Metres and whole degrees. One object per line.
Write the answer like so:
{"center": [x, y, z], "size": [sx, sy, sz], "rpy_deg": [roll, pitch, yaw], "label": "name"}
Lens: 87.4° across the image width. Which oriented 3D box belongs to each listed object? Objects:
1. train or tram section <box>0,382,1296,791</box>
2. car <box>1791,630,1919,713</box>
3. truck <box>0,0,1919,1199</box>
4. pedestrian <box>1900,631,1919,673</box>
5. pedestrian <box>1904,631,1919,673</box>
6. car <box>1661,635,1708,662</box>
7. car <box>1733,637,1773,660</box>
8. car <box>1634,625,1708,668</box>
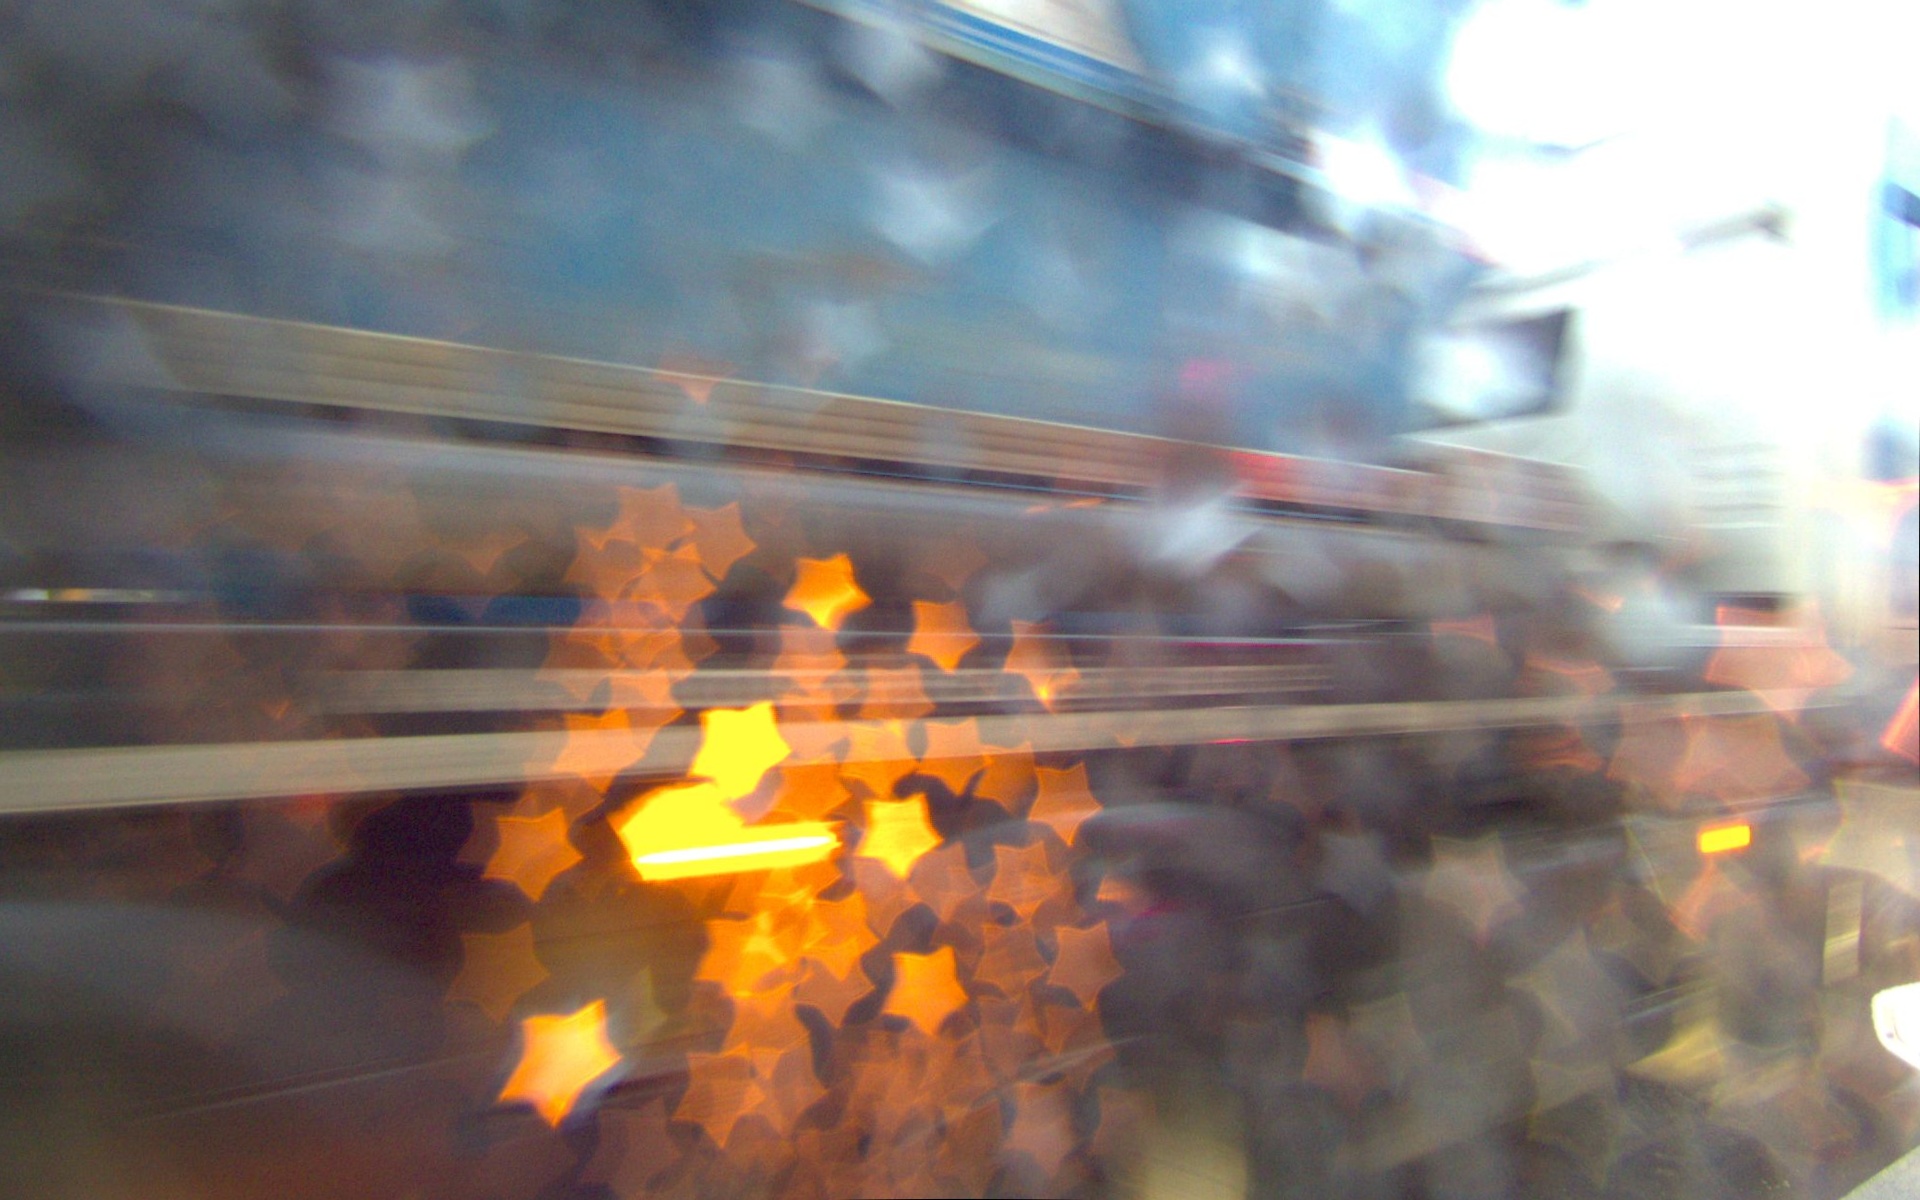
{"center": [-2.723, 0.094, 14.318], "size": [18.998, 3.662, 2.849], "rpy_deg": [2, -2, -32], "label": "train or tram section"}
{"center": [18.027, 1.347, 19.847], "size": [1.672, 1.478, 3.753], "rpy_deg": [0, -2, 27], "label": "car"}
{"center": [0.452, -0.204, 2.952], "size": [7.441, 3.681, 2.825], "rpy_deg": [1, -1, -31], "label": "truck"}
{"center": [46.992, 2.555, 49.303], "size": [0.820, 2.040, 0.980], "rpy_deg": [1, -1, -15], "label": "pedestrian"}
{"center": [47.889, 2.589, 50.006], "size": [0.820, 2.040, 0.980], "rpy_deg": [1, -1, -15], "label": "pedestrian"}
{"center": [46.555, 3.072, 64.557], "size": [3.839, 1.645, 1.769], "rpy_deg": [2, -1, -43], "label": "car"}
{"center": [58.030, 3.522, 73.461], "size": [3.839, 1.645, 1.769], "rpy_deg": [2, -1, -43], "label": "car"}
{"center": [28.568, 1.834, 40.502], "size": [2.014, 1.582, 4.824], "rpy_deg": [0, -2, 30], "label": "car"}
